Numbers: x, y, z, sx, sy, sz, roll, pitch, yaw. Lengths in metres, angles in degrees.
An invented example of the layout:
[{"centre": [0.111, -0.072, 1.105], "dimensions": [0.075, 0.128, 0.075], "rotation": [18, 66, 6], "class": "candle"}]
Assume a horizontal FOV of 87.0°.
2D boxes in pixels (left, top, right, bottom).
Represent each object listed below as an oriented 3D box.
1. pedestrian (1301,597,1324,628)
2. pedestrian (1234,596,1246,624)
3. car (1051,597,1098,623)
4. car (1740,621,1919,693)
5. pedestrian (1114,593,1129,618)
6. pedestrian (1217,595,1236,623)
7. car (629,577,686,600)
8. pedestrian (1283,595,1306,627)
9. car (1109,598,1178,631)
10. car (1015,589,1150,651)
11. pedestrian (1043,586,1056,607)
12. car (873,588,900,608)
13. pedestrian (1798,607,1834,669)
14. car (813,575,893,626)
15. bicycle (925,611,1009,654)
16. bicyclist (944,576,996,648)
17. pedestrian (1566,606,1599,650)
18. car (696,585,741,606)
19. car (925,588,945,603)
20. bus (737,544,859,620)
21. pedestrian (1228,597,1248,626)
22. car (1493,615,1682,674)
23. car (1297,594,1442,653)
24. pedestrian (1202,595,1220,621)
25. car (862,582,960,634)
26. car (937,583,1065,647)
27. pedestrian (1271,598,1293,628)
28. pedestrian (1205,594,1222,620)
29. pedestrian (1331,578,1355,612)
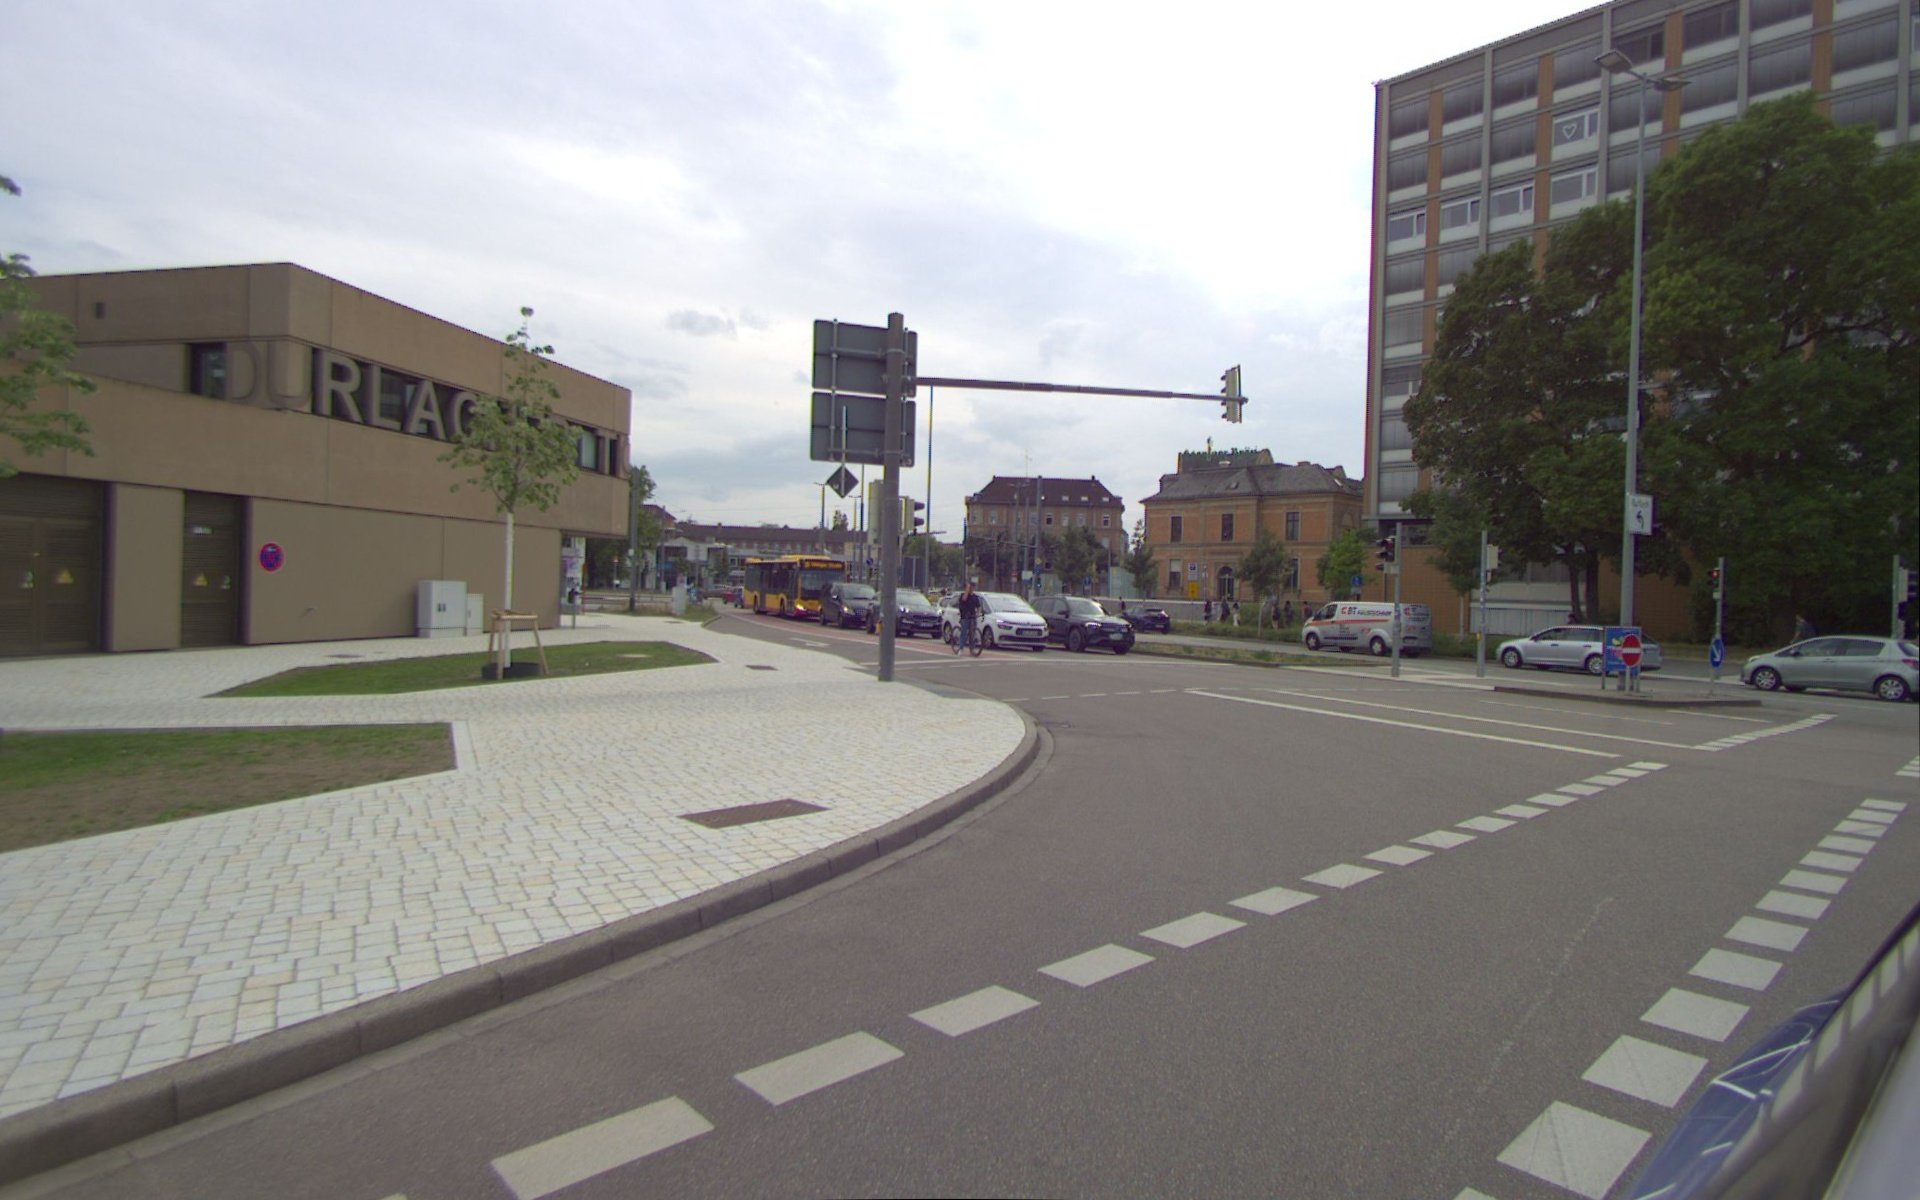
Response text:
[{"centre": [18.048, 0.627, 51.783], "dimensions": [0.764, 1.593, 0.814], "rotation": [0, 1, -17], "class": "pedestrian"}, {"centre": [15.740, 0.542, 56.919], "dimensions": [0.546, 1.555, 0.543], "rotation": [1, 1, 31], "class": "pedestrian"}, {"centre": [7.032, 0.601, 62.505], "dimensions": [1.636, 1.527, 3.641], "rotation": [3, -1, -15], "class": "car"}, {"centre": [21.689, 1.366, 24.679], "dimensions": [1.637, 1.508, 3.881], "rotation": [3, -1, -27], "class": "car"}, {"centre": [10.646, 0.356, 66.702], "dimensions": [0.764, 1.593, 0.814], "rotation": [0, 1, -13], "class": "pedestrian"}, {"centre": [15.350, 0.508, 58.263], "dimensions": [0.764, 1.593, 0.814], "rotation": [0, 1, -13], "class": "pedestrian"}, {"centre": [-24.454, -0.915, 81.886], "dimensions": [3.956, 1.594, 1.997], "rotation": [4, -1, -41], "class": "car"}, {"centre": [16.936, 0.564, 51.305], "dimensions": [0.764, 1.593, 0.814], "rotation": [0, 1, -17], "class": "pedestrian"}, {"centre": [9.765, 0.746, 54.072], "dimensions": [1.824, 1.552, 4.010], "rotation": [3, -1, -20], "class": "car"}, {"centre": [3.632, 0.560, 30.866], "dimensions": [1.958, 1.672, 4.520], "rotation": [3, -1, -25], "class": "car"}, {"centre": [6.874, -0.238, 77.735], "dimensions": [0.764, 1.593, 0.814], "rotation": [0, 1, -13], "class": "pedestrian"}, {"centre": [-6.636, -0.178, 90.846], "dimensions": [1.723, 1.672, 4.694], "rotation": [3, -1, -13], "class": "car"}, {"centre": [26.258, 1.148, 31.046], "dimensions": [0.628, 1.876, 0.708], "rotation": [1, 0, -36], "class": "pedestrian"}, {"centre": [-4.531, 0.001, 42.257], "dimensions": [1.958, 1.923, 4.298], "rotation": [3, -1, -25], "class": "car"}, {"centre": [0.130, 0.767, 24.542], "dimensions": [0.847, 0.888, 2.522], "rotation": [3, -1, -29], "class": "bicycle"}, {"centre": [0.234, 0.283, 24.414], "dimensions": [0.852, 1.690, 0.882], "rotation": [3, -1, -30], "class": "bicyclist"}, {"centre": [23.372, 1.038, 37.972], "dimensions": [0.766, 1.593, 0.812], "rotation": [0, 1, -36], "class": "pedestrian"}, {"centre": [-23.610, -0.418, 98.930], "dimensions": [3.920, 1.788, 2.002], "rotation": [3, -1, -5], "class": "car"}, {"centre": [-2.869, -0.512, 115.380], "dimensions": [1.803, 1.635, 3.550], "rotation": [3, -1, -7], "class": "car"}, {"centre": [-8.673, -0.868, 52.273], "dimensions": [3.092, 3.296, 12.436], "rotation": [3, -1, -23], "class": "bus"}, {"centre": [15.667, 0.625, 56.967], "dimensions": [0.764, 1.593, 0.814], "rotation": [0, 1, -13], "class": "pedestrian"}, {"centre": [18.766, 1.286, 30.504], "dimensions": [1.788, 1.493, 4.535], "rotation": [3, -1, -27], "class": "car"}, {"centre": [15.351, 0.824, 38.288], "dimensions": [1.787, 1.984, 5.214], "rotation": [3, -1, -24], "class": "car"}, {"centre": [15.369, 0.501, 62.037], "dimensions": [0.764, 1.593, 0.814], "rotation": [0, 1, -13], "class": "pedestrian"}, {"centre": [-1.823, 0.268, 36.223], "dimensions": [1.958, 1.672, 4.298], "rotation": [3, -1, -25], "class": "car"}, {"centre": [1.123, 0.396, 29.865], "dimensions": [1.958, 1.672, 4.298], "rotation": [3, -1, -25], "class": "car"}, {"centre": [17.091, 0.680, 53.730], "dimensions": [0.764, 1.593, 0.814], "rotation": [0, 1, -13], "class": "pedestrian"}, {"centre": [16.238, 0.446, 64.807], "dimensions": [0.764, 1.593, 0.814], "rotation": [0, 1, -13], "class": "pedestrian"}, {"centre": [18.429, -0.238, 48.692], "dimensions": [0.764, 1.593, 0.814], "rotation": [0, 1, -17], "class": "pedestrian"}]
